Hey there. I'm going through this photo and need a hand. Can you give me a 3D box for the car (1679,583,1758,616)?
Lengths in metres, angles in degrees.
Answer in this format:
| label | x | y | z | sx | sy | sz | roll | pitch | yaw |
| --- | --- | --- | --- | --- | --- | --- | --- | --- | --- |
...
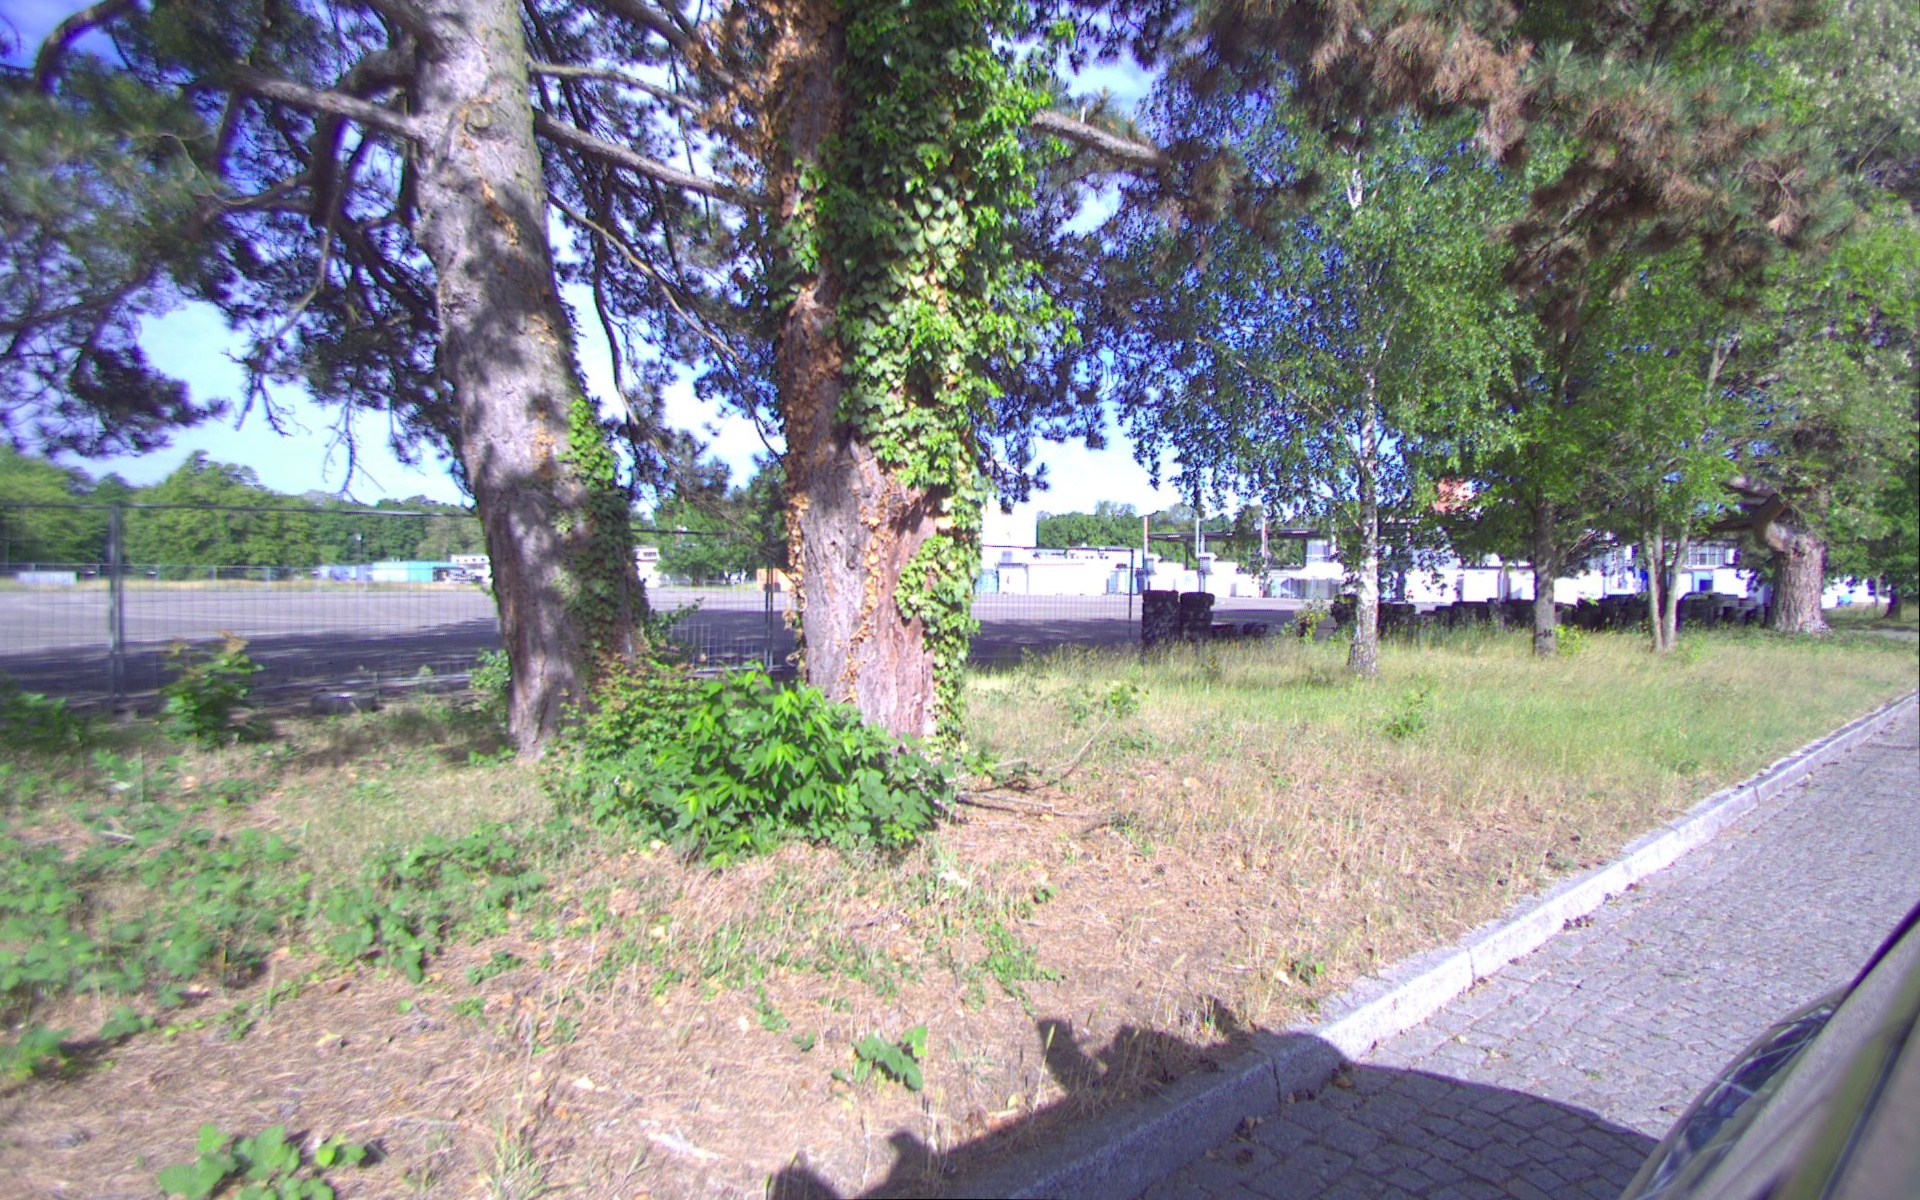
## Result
| label | x | y | z | sx | sy | sz | roll | pitch | yaw |
| --- | --- | --- | --- | --- | --- | --- | --- | --- | --- |
| car | 35.484 | -0.036 | 47.346 | 3.924 | 1.467 | 1.848 | 0 | 1 | -36 |
